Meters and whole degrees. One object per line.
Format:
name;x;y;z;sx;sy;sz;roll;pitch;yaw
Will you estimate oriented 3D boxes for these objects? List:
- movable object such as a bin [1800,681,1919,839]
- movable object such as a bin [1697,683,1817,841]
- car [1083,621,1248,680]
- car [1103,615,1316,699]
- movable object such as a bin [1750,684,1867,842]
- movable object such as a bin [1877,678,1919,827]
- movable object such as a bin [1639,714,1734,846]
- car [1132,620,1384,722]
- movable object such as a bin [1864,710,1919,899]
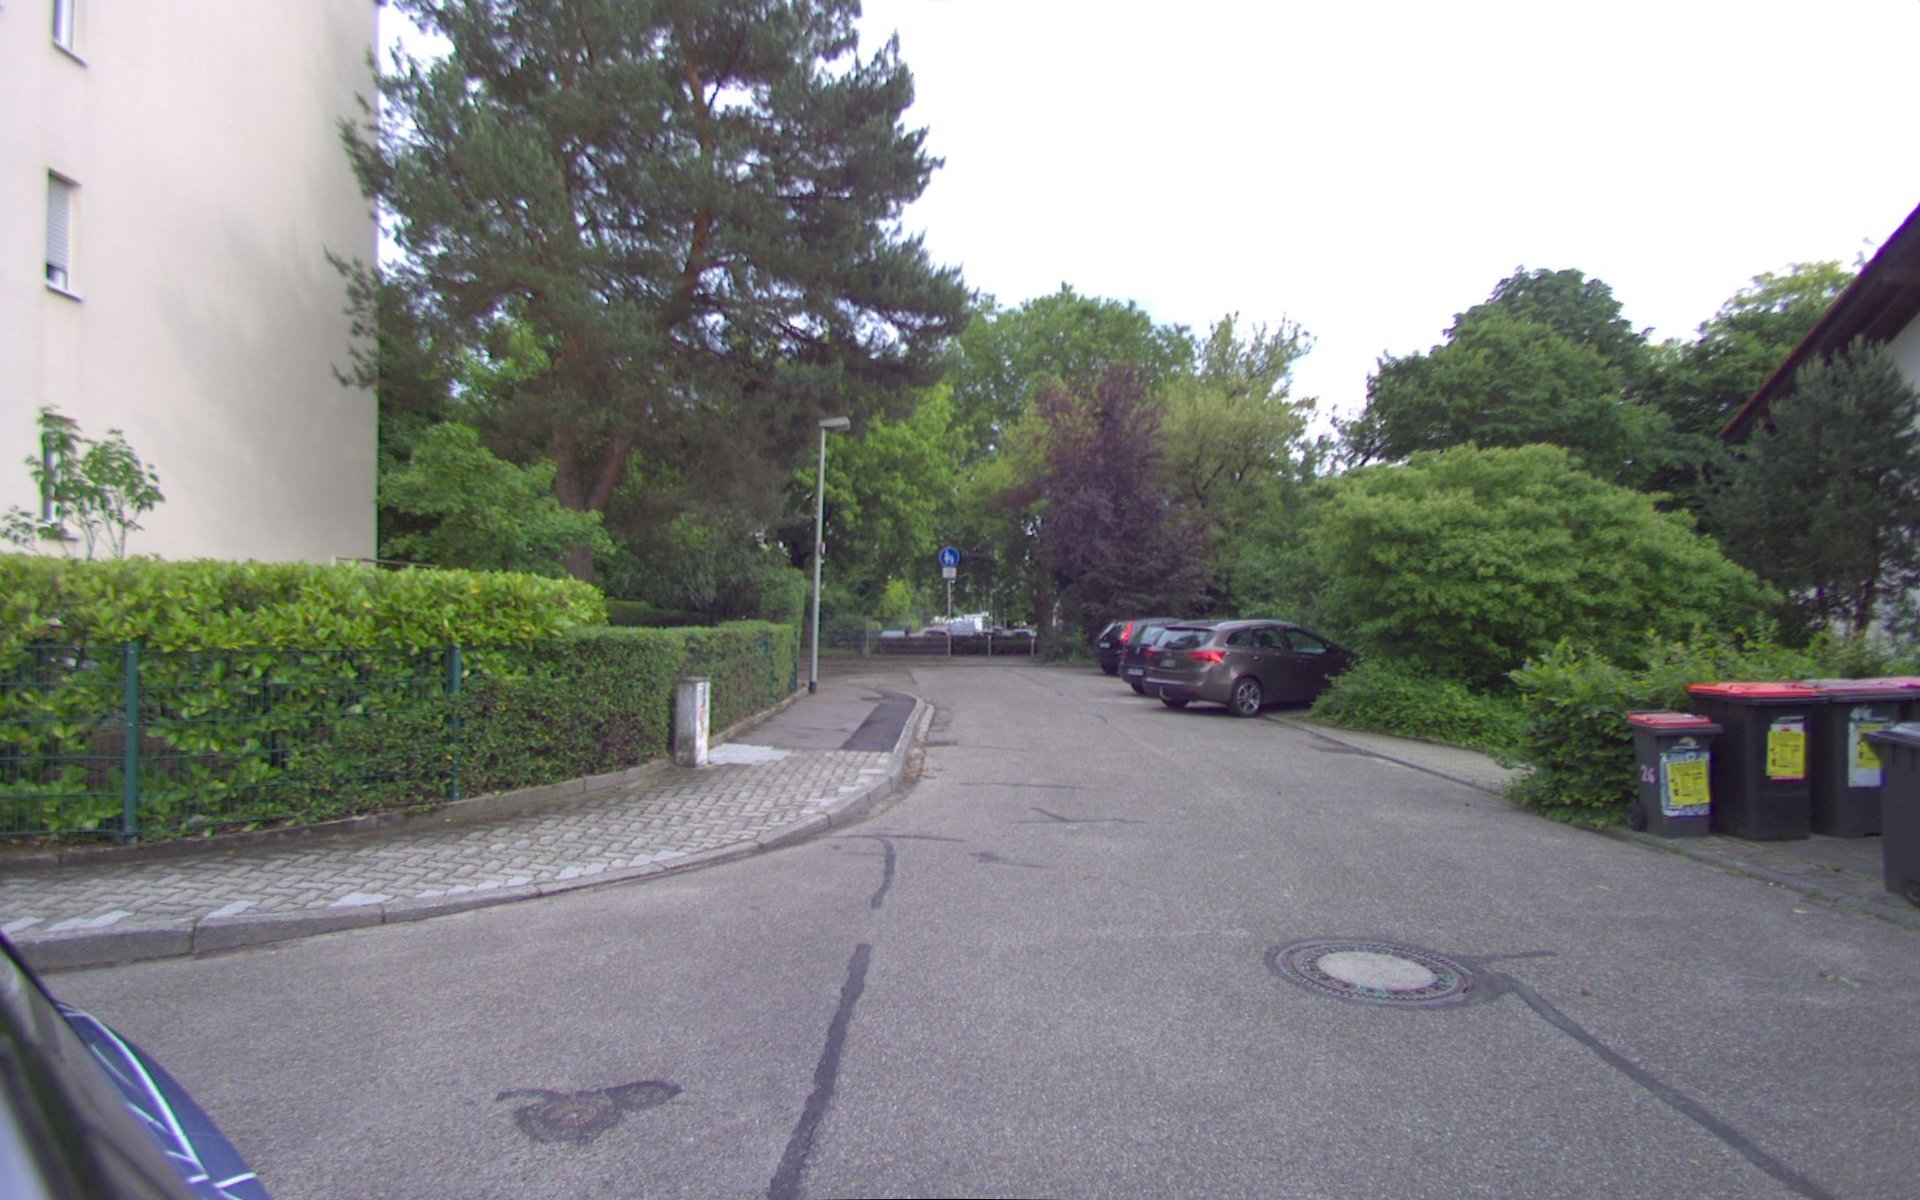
movable object such as a bin;6.215;1.086;6.998;0.332;1.001;0.539;0;0;-6
movable object such as a bin;5.497;1.098;7.002;0.373;1.001;0.539;0;0;-6
car;5.233;1.239;25.664;3.931;1.385;1.706;1;-1;-28
car;4.901;1.057;19.815;3.931;1.502;1.706;1;-1;-28
movable object such as a bin;5.861;1.106;7.008;0.332;1.001;0.539;0;0;-6
movable object such as a bin;6.767;1.064;6.999;0.332;1.001;0.539;0;0;-6
movable object such as a bin;5.070;1.245;7.075;0.373;0.843;0.387;0;0;-6
car;4.948;1.088;16.733;3.931;1.502;1.706;1;-1;-28
movable object such as a bin;5.409;1.093;5.327;0.712;0.960;0.641;0;0;-4
